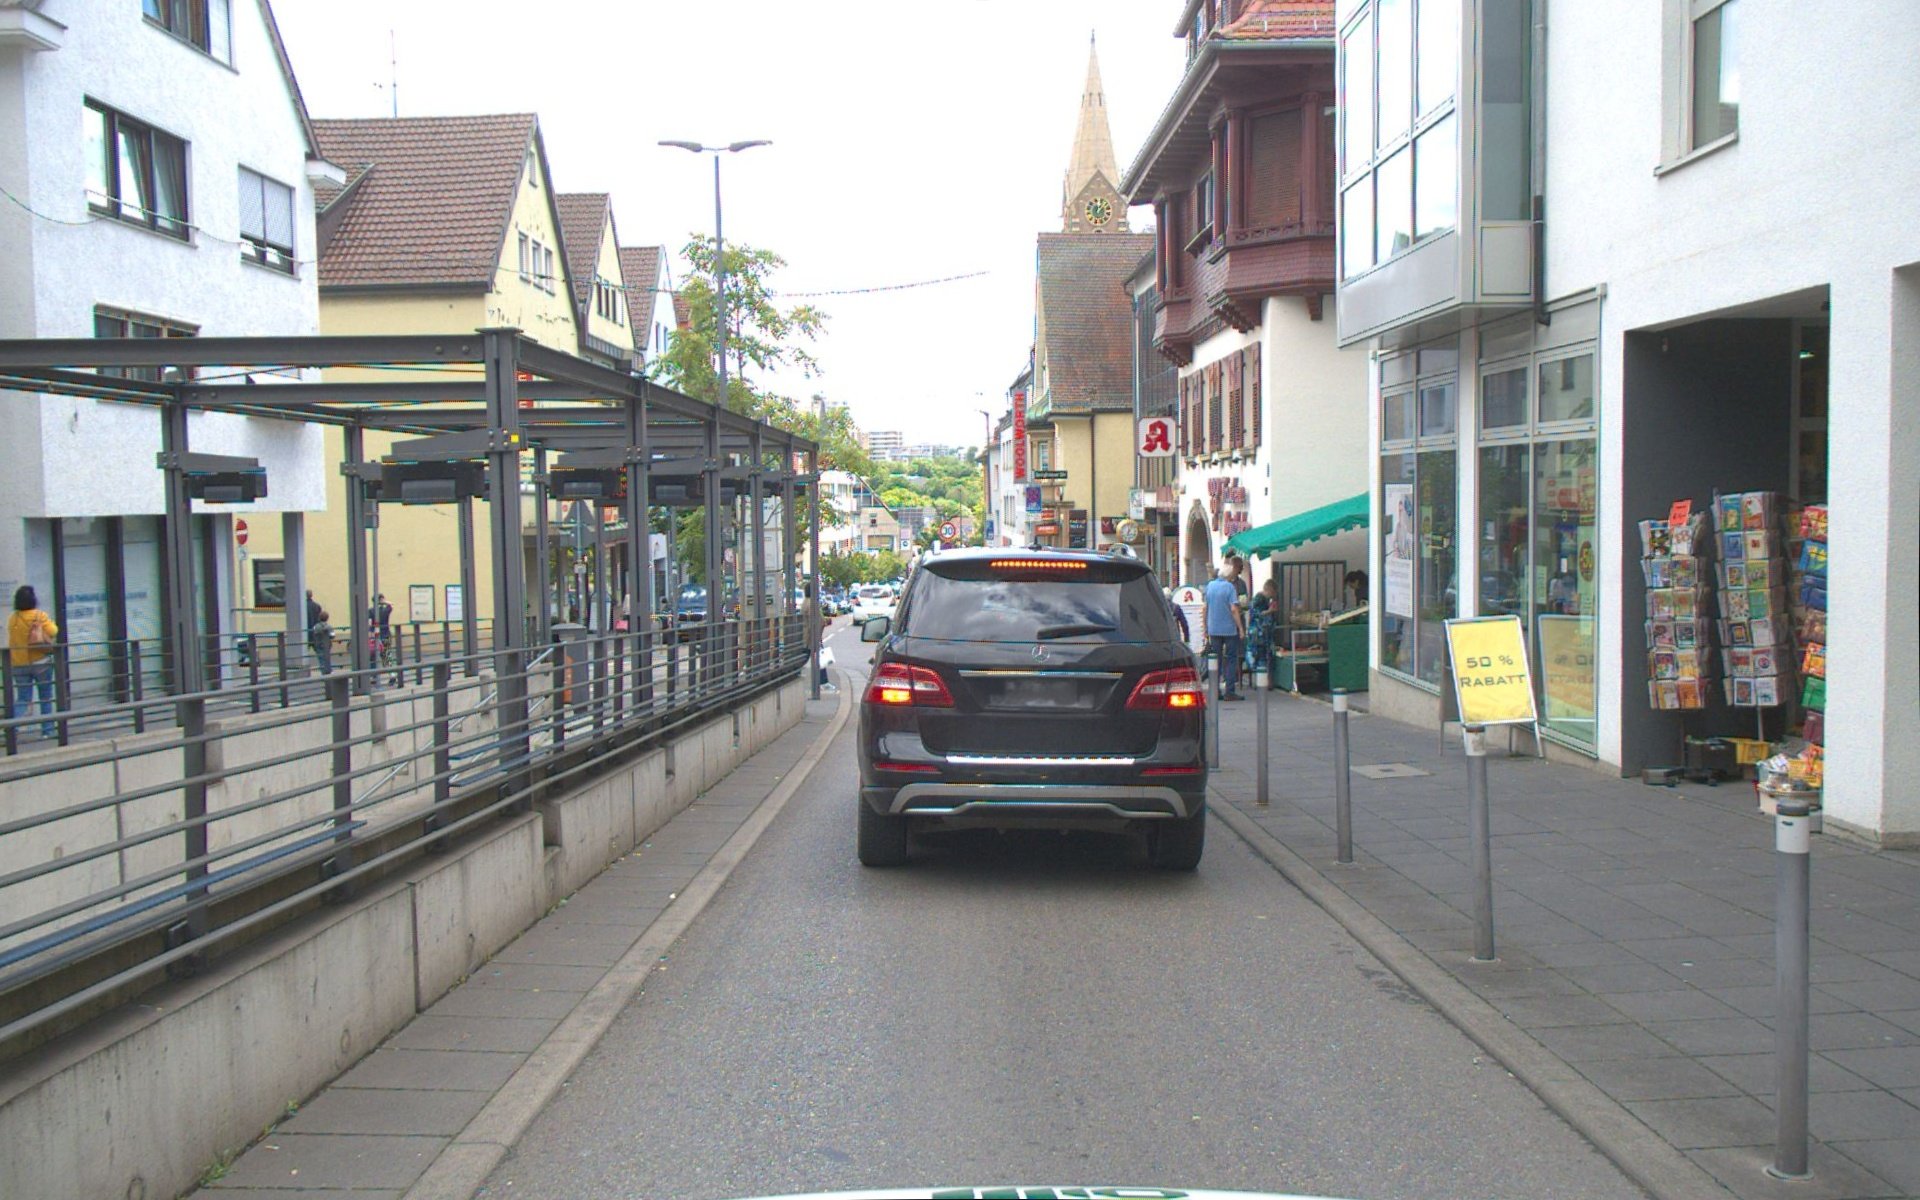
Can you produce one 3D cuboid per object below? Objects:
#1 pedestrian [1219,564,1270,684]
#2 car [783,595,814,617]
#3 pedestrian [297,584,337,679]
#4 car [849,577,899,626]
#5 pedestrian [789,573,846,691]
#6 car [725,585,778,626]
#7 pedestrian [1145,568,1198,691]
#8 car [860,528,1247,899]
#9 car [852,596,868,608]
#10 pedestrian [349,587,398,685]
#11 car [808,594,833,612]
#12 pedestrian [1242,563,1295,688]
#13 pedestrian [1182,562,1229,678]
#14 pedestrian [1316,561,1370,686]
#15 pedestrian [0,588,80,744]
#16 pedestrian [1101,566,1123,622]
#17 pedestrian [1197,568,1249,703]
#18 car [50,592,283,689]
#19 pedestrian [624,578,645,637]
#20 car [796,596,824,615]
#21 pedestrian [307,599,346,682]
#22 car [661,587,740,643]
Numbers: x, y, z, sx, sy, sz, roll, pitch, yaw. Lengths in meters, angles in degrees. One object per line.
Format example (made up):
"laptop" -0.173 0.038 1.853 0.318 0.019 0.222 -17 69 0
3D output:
"pedestrian" 4.152 0.348 24.149 0.562 1.718 0.565 1 0 -7
"car" -8.590 0.290 88.163 1.360 1.089 3.113 -1 1 0
"pedestrian" -11.782 0.575 30.321 0.601 1.718 0.561 1 0 -15
"car" -3.207 0.047 62.376 1.734 1.743 3.999 1 0 -1
"pedestrian" -2.106 0.464 24.565 0.750 1.718 0.727 1 0 0
"car" -8.231 0.200 65.517 1.626 1.516 3.747 1 0 0
"pedestrian" 3.004 0.415 23.503 0.609 1.718 0.565 1 0 -7
"car" 0.383 0.543 10.049 1.862 1.777 3.998 1 0 -2
"car" -9.758 0.161 161.844 1.360 1.089 3.113 -1 1 0
"pedestrian" -10.452 0.627 29.492 0.613 1.718 0.679 1 0 -1
"car" -8.872 0.180 105.356 1.360 1.089 3.113 -1 1 0
"pedestrian" 4.313 0.347 23.136 0.562 1.718 0.565 -1 0 -7
"pedestrian" 3.981 0.317 26.861 0.626 1.841 0.684 1 0 -1
"pedestrian" 5.387 0.326 23.290 0.562 1.718 0.565 -1 0 -7
"pedestrian" -10.318 0.726 18.549 0.566 1.718 0.576 1 0 -1
"pedestrian" 4.723 -0.190 51.479 0.594 1.718 0.724 -1 0 -1
"pedestrian" 3.472 0.461 21.873 0.531 1.756 0.527 -1 0 -7
"car" -16.626 0.806 34.721 4.091 1.761 1.836 3 1 12
"pedestrian" -9.638 0.220 48.948 0.502 1.718 0.541 1 0 -1
"car" -9.042 0.317 99.759 1.360 1.089 3.113 -1 1 0
"pedestrian" -11.319 0.719 29.551 0.447 1.446 0.533 1 0 2
"car" -7.518 0.408 48.219 1.655 1.516 3.979 2 0 0
